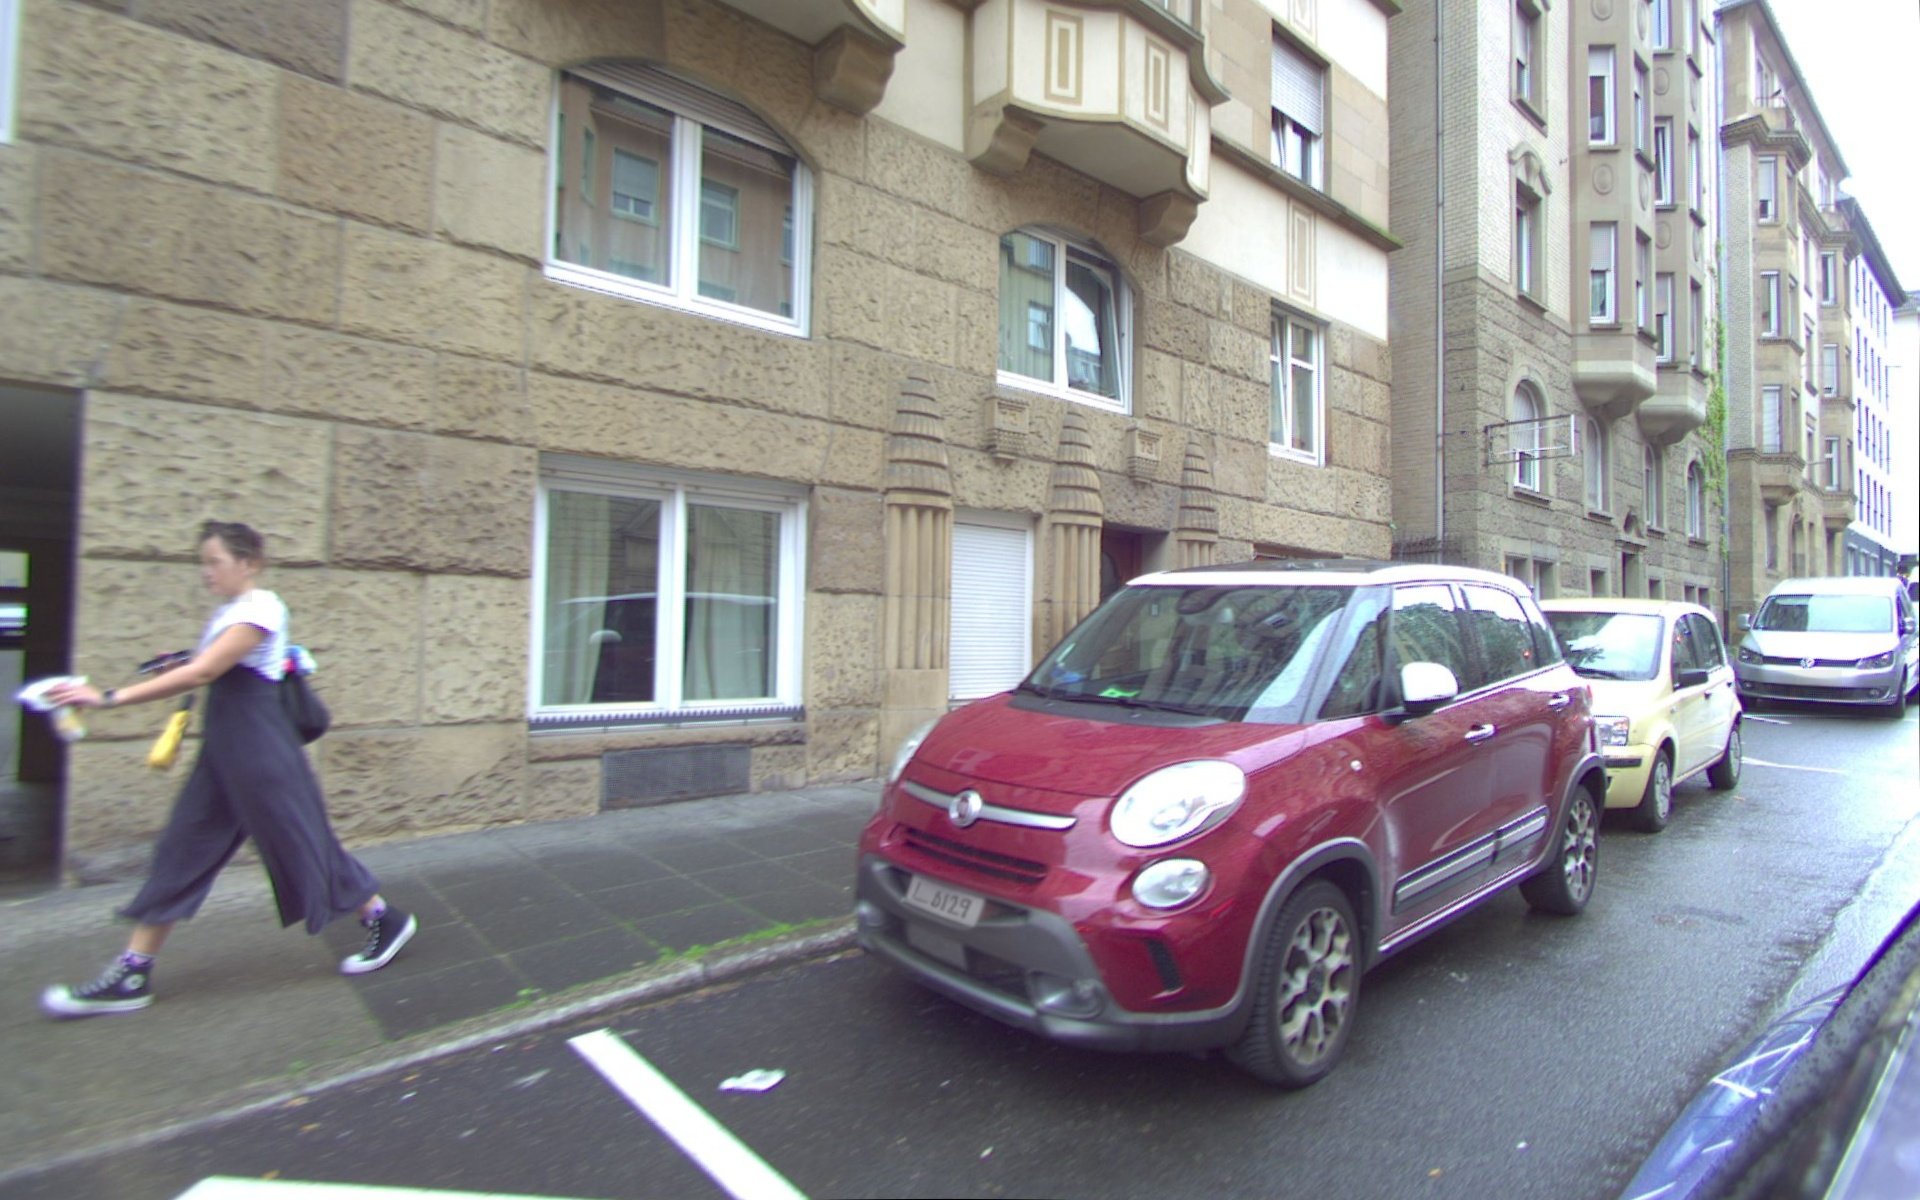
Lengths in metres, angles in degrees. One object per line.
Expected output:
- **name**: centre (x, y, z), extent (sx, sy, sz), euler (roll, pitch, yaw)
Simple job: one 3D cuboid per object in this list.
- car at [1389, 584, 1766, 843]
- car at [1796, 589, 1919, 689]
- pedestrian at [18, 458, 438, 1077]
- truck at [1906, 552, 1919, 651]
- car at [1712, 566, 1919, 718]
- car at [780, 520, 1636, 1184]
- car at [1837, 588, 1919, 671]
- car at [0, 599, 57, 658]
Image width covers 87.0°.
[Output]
- **car**: centre (4.894, 0.681, 7.841), extent (3.517, 1.549, 1.578), euler (0, -1, -43)
- **car**: centre (15.873, 0.605, 17.341), extent (3.934, 1.549, 1.994), euler (0, -1, -45)
- **pedestrian**: centre (-2.520, 0.472, 3.539), extent (1.092, 1.770, 0.743), euler (0, 0, -41)
- **truck**: centre (27.872, 0.028, 27.711), extent (6.035, 2.568, 2.234), euler (0, -1, -41)
- **car**: centre (12.462, 0.505, 14.353), extent (4.380, 1.825, 1.966), euler (0, -1, -41)
- **car**: centre (1.370, 0.618, 4.482), extent (3.932, 1.619, 1.804), euler (0, -1, -42)
- **car**: centre (19.181, 0.552, 20.279), extent (3.860, 1.549, 1.889), euler (0, -1, -41)
- **car**: centre (-26.476, 0.766, 28.329), extent (1.692, 1.541, 4.098), euler (0, -1, -41)
